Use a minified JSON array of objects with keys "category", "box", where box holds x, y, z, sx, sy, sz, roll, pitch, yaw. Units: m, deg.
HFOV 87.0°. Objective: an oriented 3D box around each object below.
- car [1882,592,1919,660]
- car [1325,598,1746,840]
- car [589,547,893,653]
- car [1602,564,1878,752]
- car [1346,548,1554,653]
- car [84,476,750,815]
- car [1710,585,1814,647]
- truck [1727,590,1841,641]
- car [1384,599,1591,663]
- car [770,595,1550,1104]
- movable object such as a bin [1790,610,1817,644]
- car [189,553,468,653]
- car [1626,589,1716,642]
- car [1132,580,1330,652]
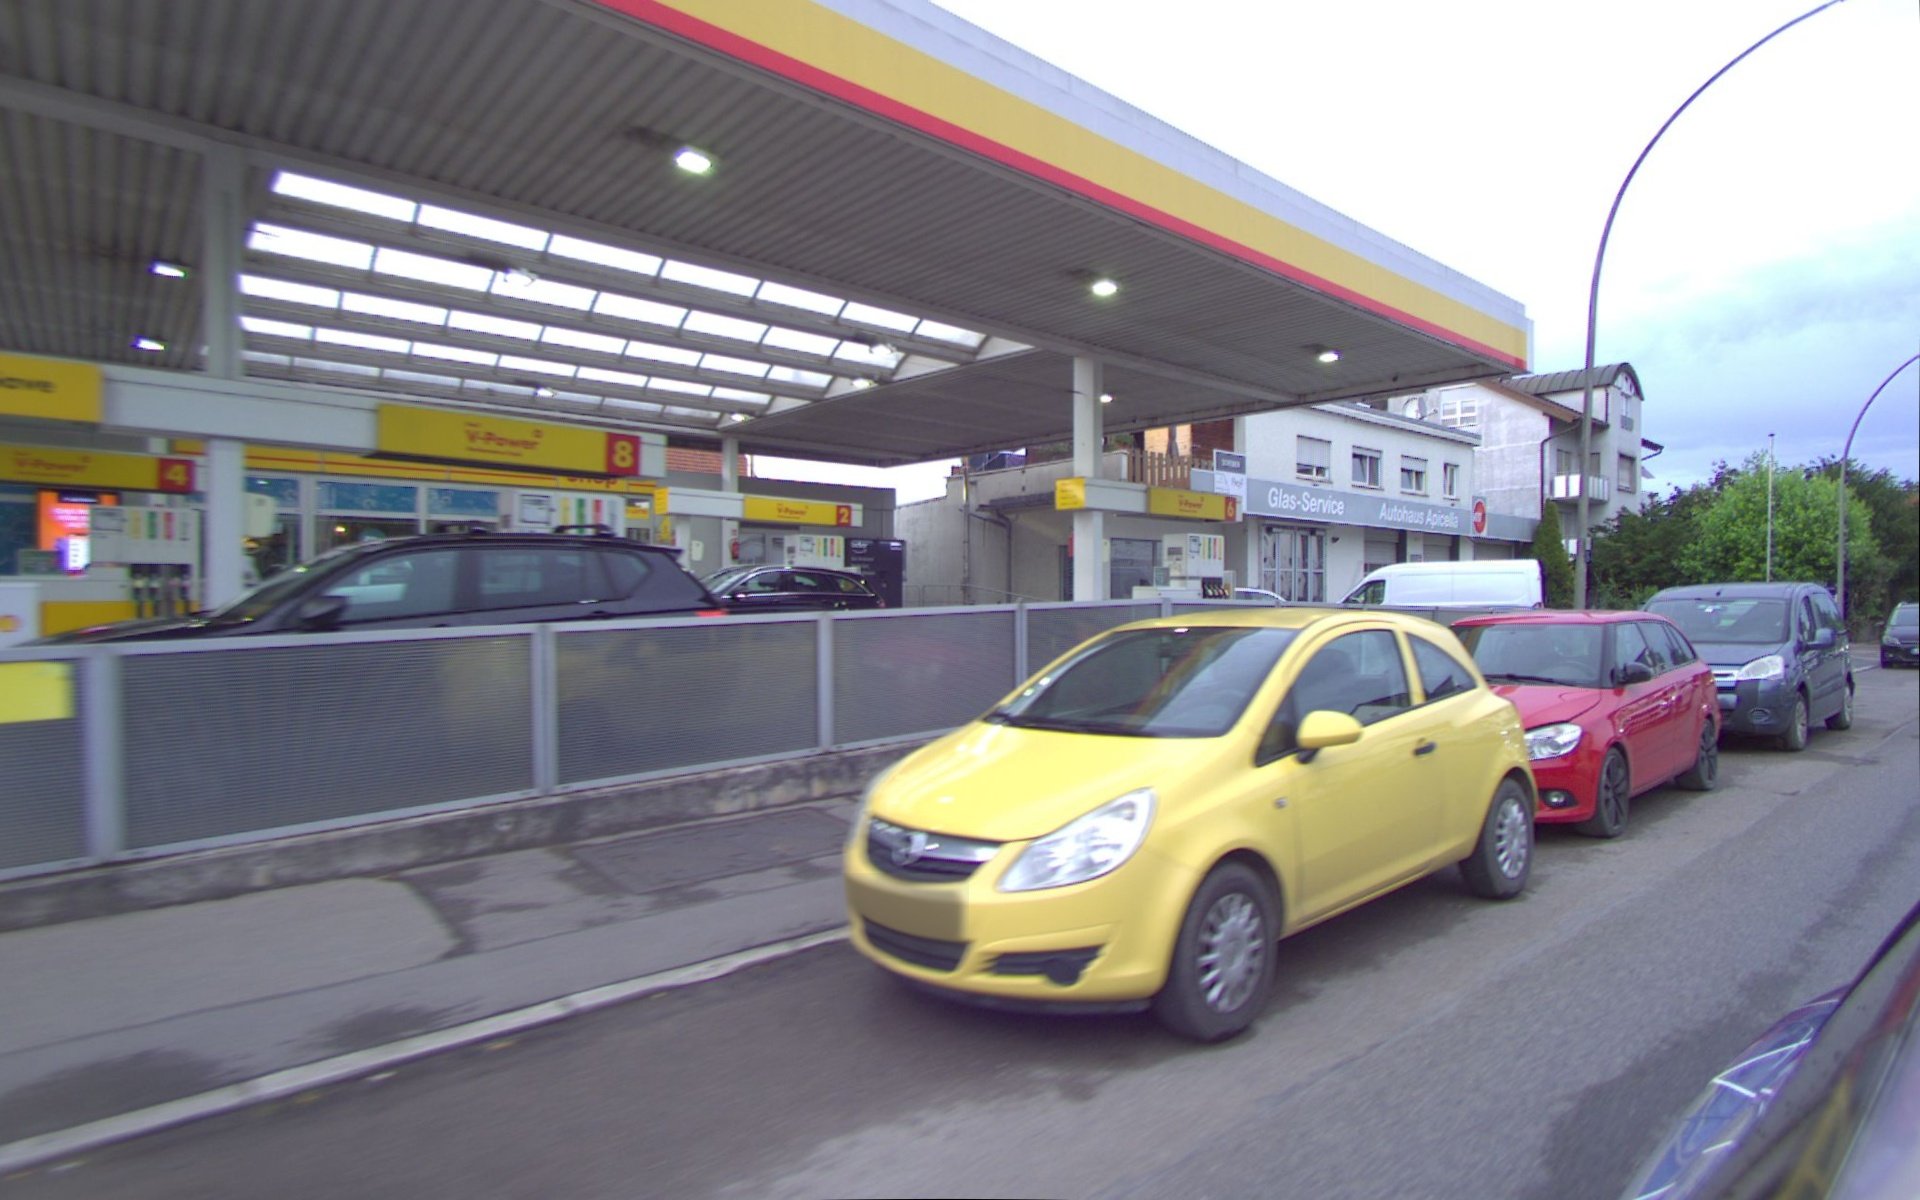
[{"category":"car","box":[24.611,0.631,25.262,3.931,1.616,1.996,0,1,-42]},{"category":"car","box":[4.609,0.689,7.851,3.955,1.394,1.659,0,0,-41]},{"category":"car","box":[-3.429,-0.013,16.445,4.592,1.484,1.743,0,0,-41]},{"category":"car","box":[9.054,0.559,11.609,4.367,1.761,1.658,0,-2,-41]},{"category":"car","box":[12.817,-0.008,26.663,4.759,2.552,2.225,1,0,28]},{"category":"car","box":[-3.711,0.216,7.339,3.933,1.781,1.821,0,1,-44]},{"category":"car","box":[23.653,0.422,29.806,1.994,1.704,3.935,0,0,45]},{"category":"truck","box":[26.334,0.460,32.404,1.300,1.549,2.564,0,0,-33]},{"category":"car","box":[12.307,0.699,23.854,3.935,1.392,1.775,0,1,10]},{"category":"car","box":[1.166,0.694,4.717,3.735,1.419,1.659,0,0,-41]},{"category":"movable object such as a bin","box":[27.595,0.875,33.104,0.670,1.088,0.575,0,0,-42]},{"category":"car","box":[-10.422,0.036,16.819,3.714,1.484,1.743,0,0,-41]},{"category":"car","box":[23.299,0.462,33.111,3.671,1.538,1.749,0,3,-45]},{"category":"car","box":[6.460,0.371,24.504,4.282,1.662,1.998,0,0,3]}]
